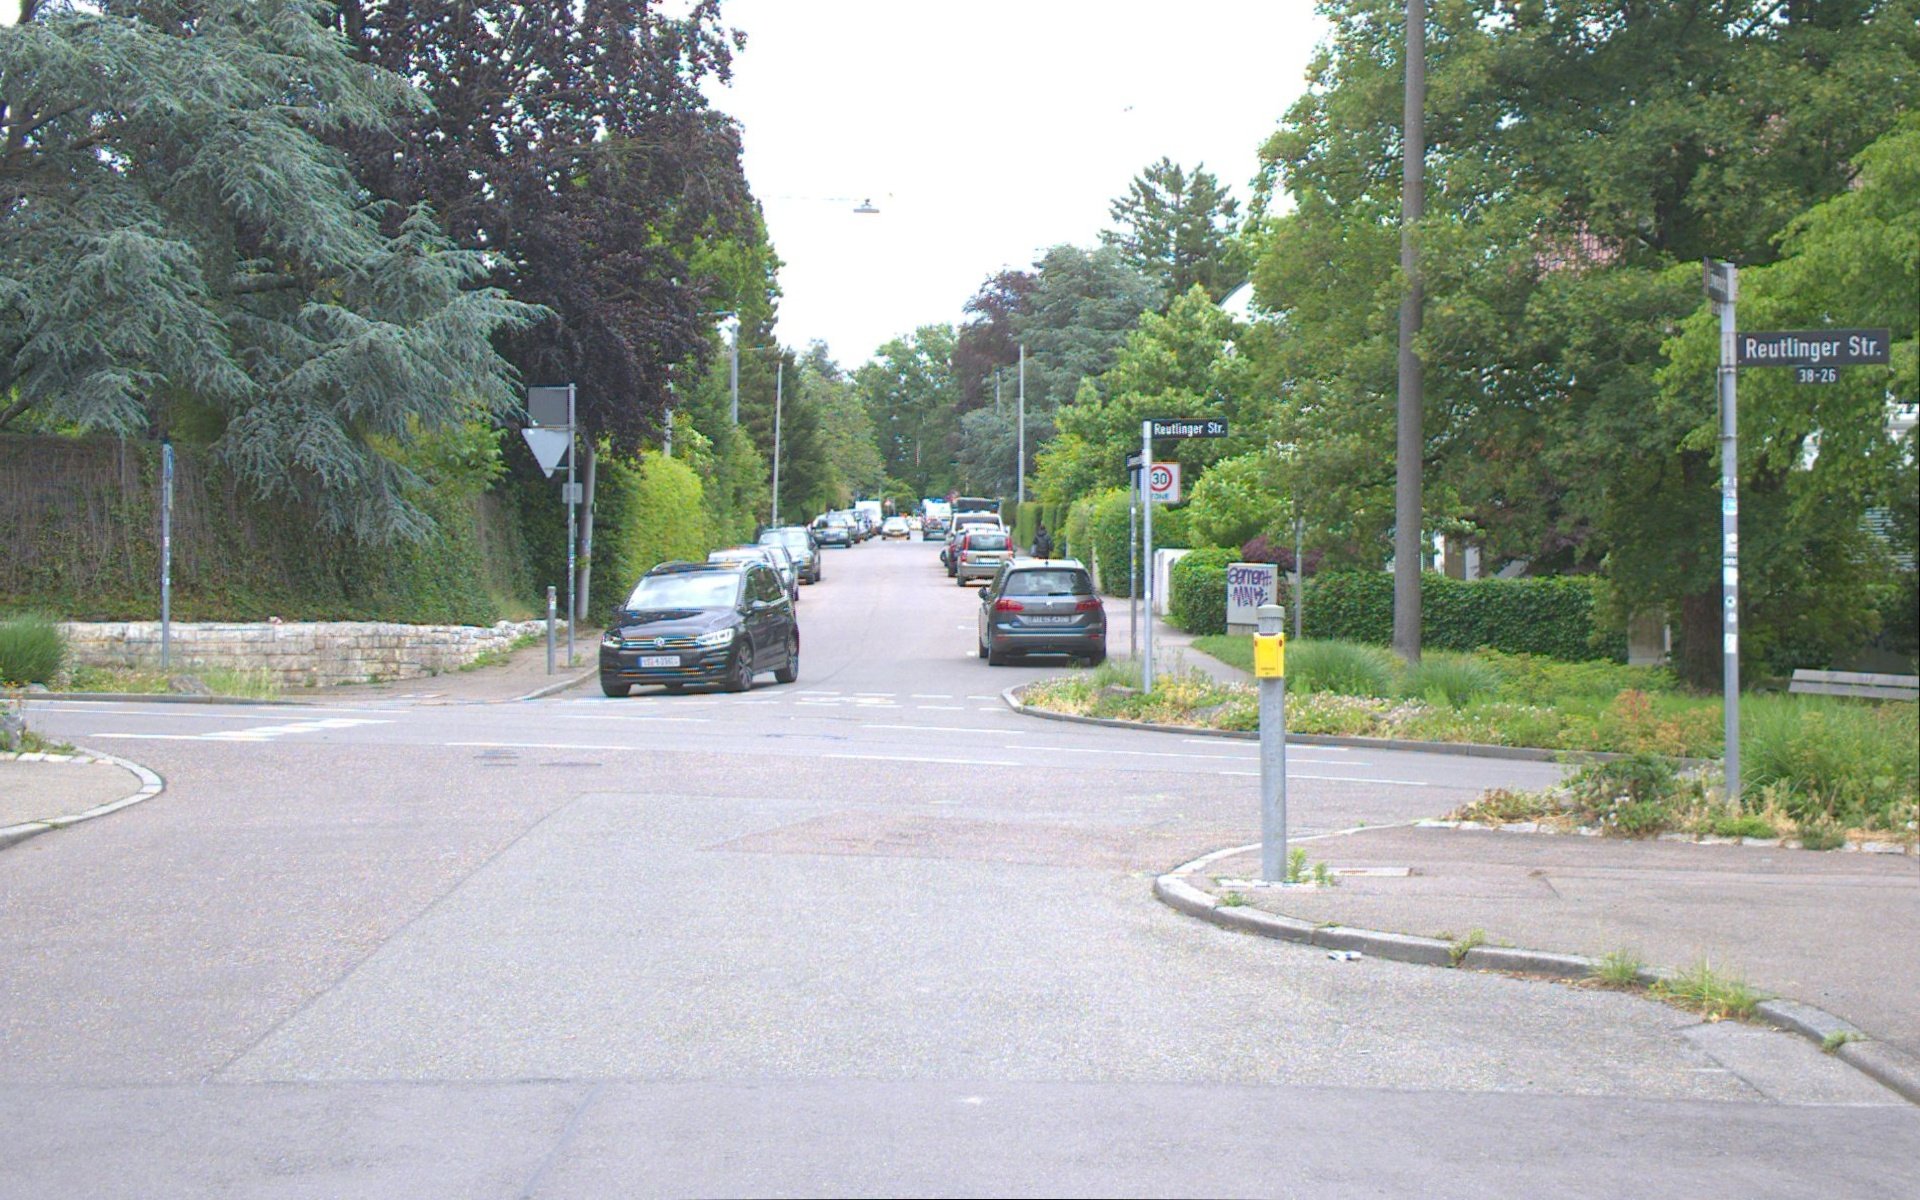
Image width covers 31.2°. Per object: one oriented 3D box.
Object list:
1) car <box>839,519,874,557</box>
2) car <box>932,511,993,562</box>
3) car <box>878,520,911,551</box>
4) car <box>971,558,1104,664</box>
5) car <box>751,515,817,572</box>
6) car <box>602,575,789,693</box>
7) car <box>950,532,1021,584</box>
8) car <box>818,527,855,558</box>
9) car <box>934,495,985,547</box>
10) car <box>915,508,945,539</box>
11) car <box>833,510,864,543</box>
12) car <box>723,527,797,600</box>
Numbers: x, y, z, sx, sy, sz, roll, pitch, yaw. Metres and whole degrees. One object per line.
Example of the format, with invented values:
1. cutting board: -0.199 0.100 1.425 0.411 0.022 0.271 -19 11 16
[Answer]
1. car: -5.200 -3.122 172.939 1.722 1.875 4.000 1 1 -1
2. car: 0.093 -1.932 104.420 1.789 1.524 3.734 0 1 1
3. car: -4.135 -4.057 216.022 1.993 1.875 4.000 2 1 -1
4. car: 1.134 0.139 51.996 1.778 1.484 4.000 2 1 -2
5. car: -5.138 -1.678 100.691 1.711 1.580 4.000 0 2 0
6. car: -3.284 0.397 43.331 1.728 1.402 3.803 0 1 5
7. car: 0.699 -1.176 95.532 1.810 1.331 3.633 1 2 -2
8. car: -5.756 -2.666 160.344 1.626 1.381 3.599 2 1 -1
9. car: -0.031 -2.679 116.423 1.633 1.695 3.495 0 1 -1
10. car: -1.689 -4.279 192.077 1.633 1.695 3.495 0 1 -1
11. car: -6.723 -4.434 207.379 1.817 1.875 4.000 2 1 -1
12. car: -4.779 -0.903 82.647 1.633 1.695 3.763 0 1 -1
